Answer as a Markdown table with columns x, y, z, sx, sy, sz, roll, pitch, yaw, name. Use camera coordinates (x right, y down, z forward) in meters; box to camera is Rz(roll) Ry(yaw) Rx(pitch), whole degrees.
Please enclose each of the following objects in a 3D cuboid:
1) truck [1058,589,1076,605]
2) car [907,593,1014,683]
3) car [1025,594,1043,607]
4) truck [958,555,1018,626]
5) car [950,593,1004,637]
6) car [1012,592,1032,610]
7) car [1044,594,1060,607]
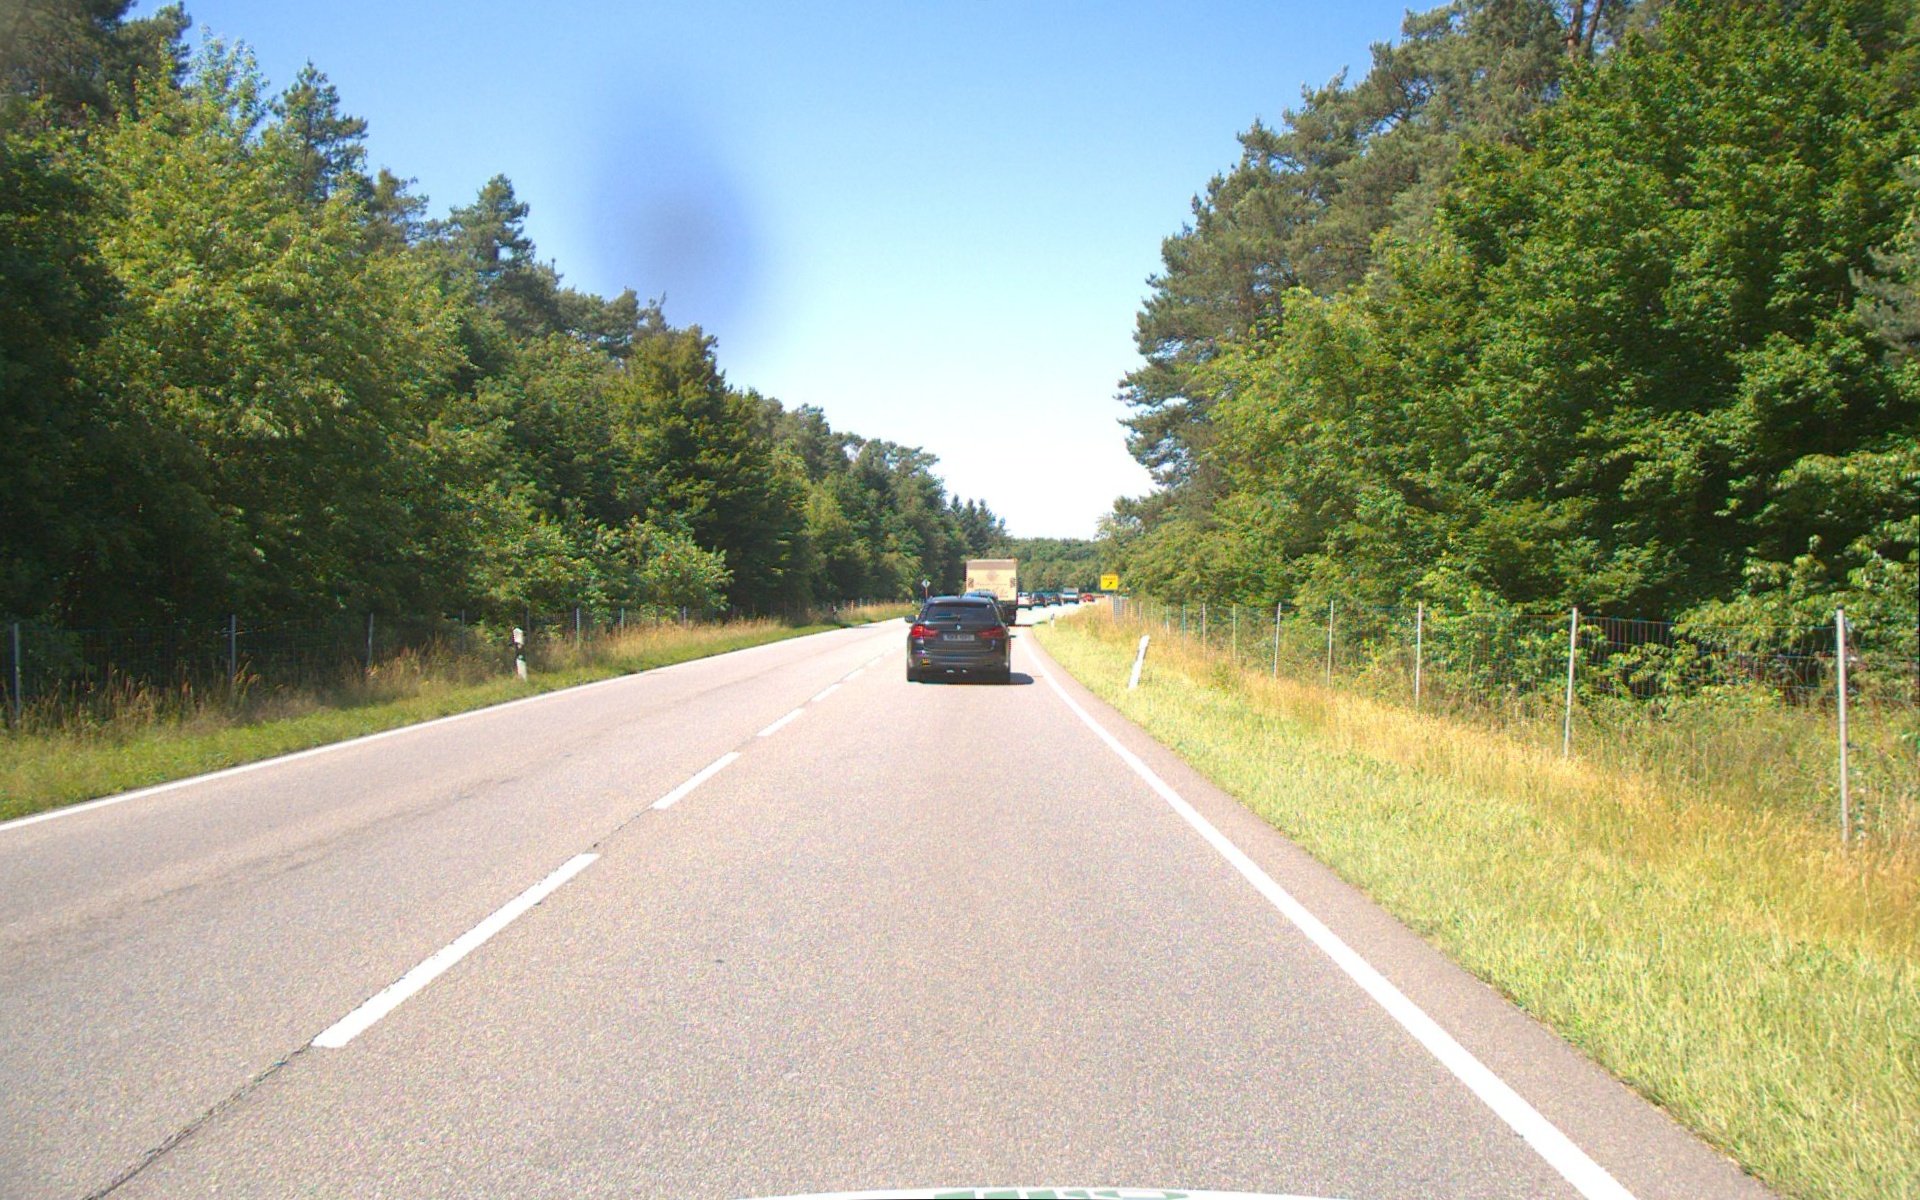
| x | y | z | sx | sy | sz | roll | pitch | yaw | name |
| --- | --- | --- | --- | --- | --- | --- | --- | --- | --- |
| 15.735 | -0.486 | 242.389 | 2.509 | 2.241 | 4.977 | 1 | 0 | 5 | truck |
| -0.047 | 0.632 | 29.880 | 1.784 | 1.496 | 3.999 | 0 | 0 | -2 | car |
| 8.568 | 0.102 | 191.344 | 1.952 | 1.445 | 4.002 | 1 | 0 | 3 | car |
| 1.495 | -0.513 | 83.868 | 2.904 | 3.447 | 6.440 | 0 | 0 | 2 | truck |
| 0.620 | 0.534 | 61.912 | 1.908 | 1.568 | 3.999 | -1 | 0 | -1 | car |
| 5.927 | 0.080 | 158.549 | 1.824 | 1.633 | 4.001 | 1 | 0 | 1 | car |
| 11.976 | 0.040 | 215.312 | 1.952 | 1.665 | 4.002 | -1 | 0 | 3 | car |
